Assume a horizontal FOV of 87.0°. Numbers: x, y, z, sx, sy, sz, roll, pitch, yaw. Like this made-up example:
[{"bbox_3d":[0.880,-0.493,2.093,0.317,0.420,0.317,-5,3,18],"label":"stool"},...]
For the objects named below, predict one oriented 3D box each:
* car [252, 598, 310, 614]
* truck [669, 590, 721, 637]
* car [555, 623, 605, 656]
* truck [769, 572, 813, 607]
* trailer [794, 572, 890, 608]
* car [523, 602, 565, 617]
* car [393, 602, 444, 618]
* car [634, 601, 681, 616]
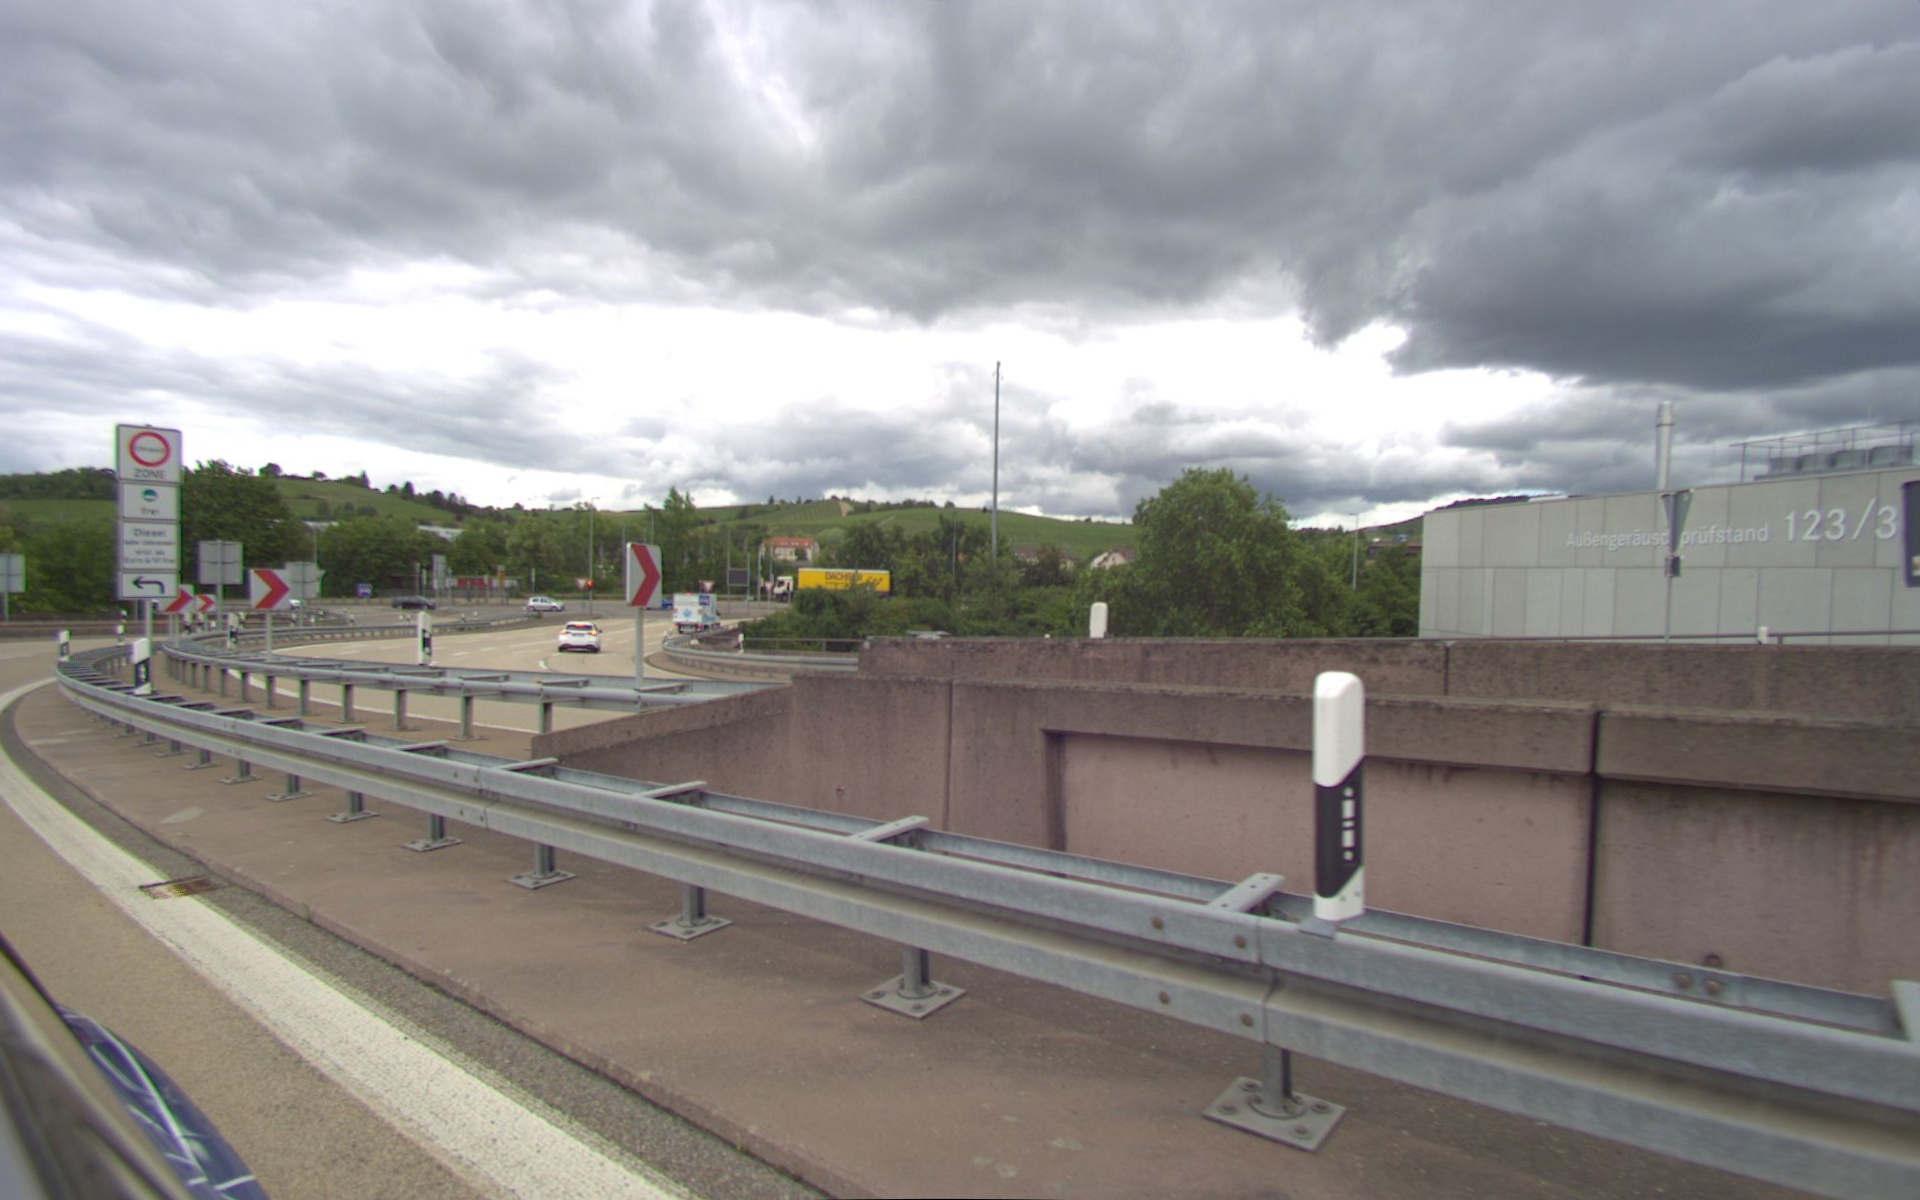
[{"bbox_3d":[-70.453,0.642,105.082,4.646,1.572,1.879,0,2,-2],"label":"car"},{"bbox_3d":[-20.310,1.033,77.975,2.318,3.288,6.999,3,-1,-3],"label":"truck"},{"bbox_3d":[-18.290,1.880,48.560,1.884,1.425,4.379,4,-3,-24],"label":"car"},{"bbox_3d":[-20.589,-1.319,123.401,5.028,4.235,2.636,1,2,-2],"label":"truck"},{"bbox_3d":[-14.324,-1.226,123.546,11.488,4.235,2.636,1,2,-1],"label":"trailer"},{"bbox_3d":[-43.122,0.963,104.954,3.695,1.384,1.630,0,2,-2],"label":"car"},{"bbox_3d":[-56.079,1.046,104.886,4.231,1.568,1.950,0,2,-3],"label":"car"},{"bbox_3d":[-32.129,0.902,107.499,4.478,1.465,1.610,0,2,0],"label":"car"}]
